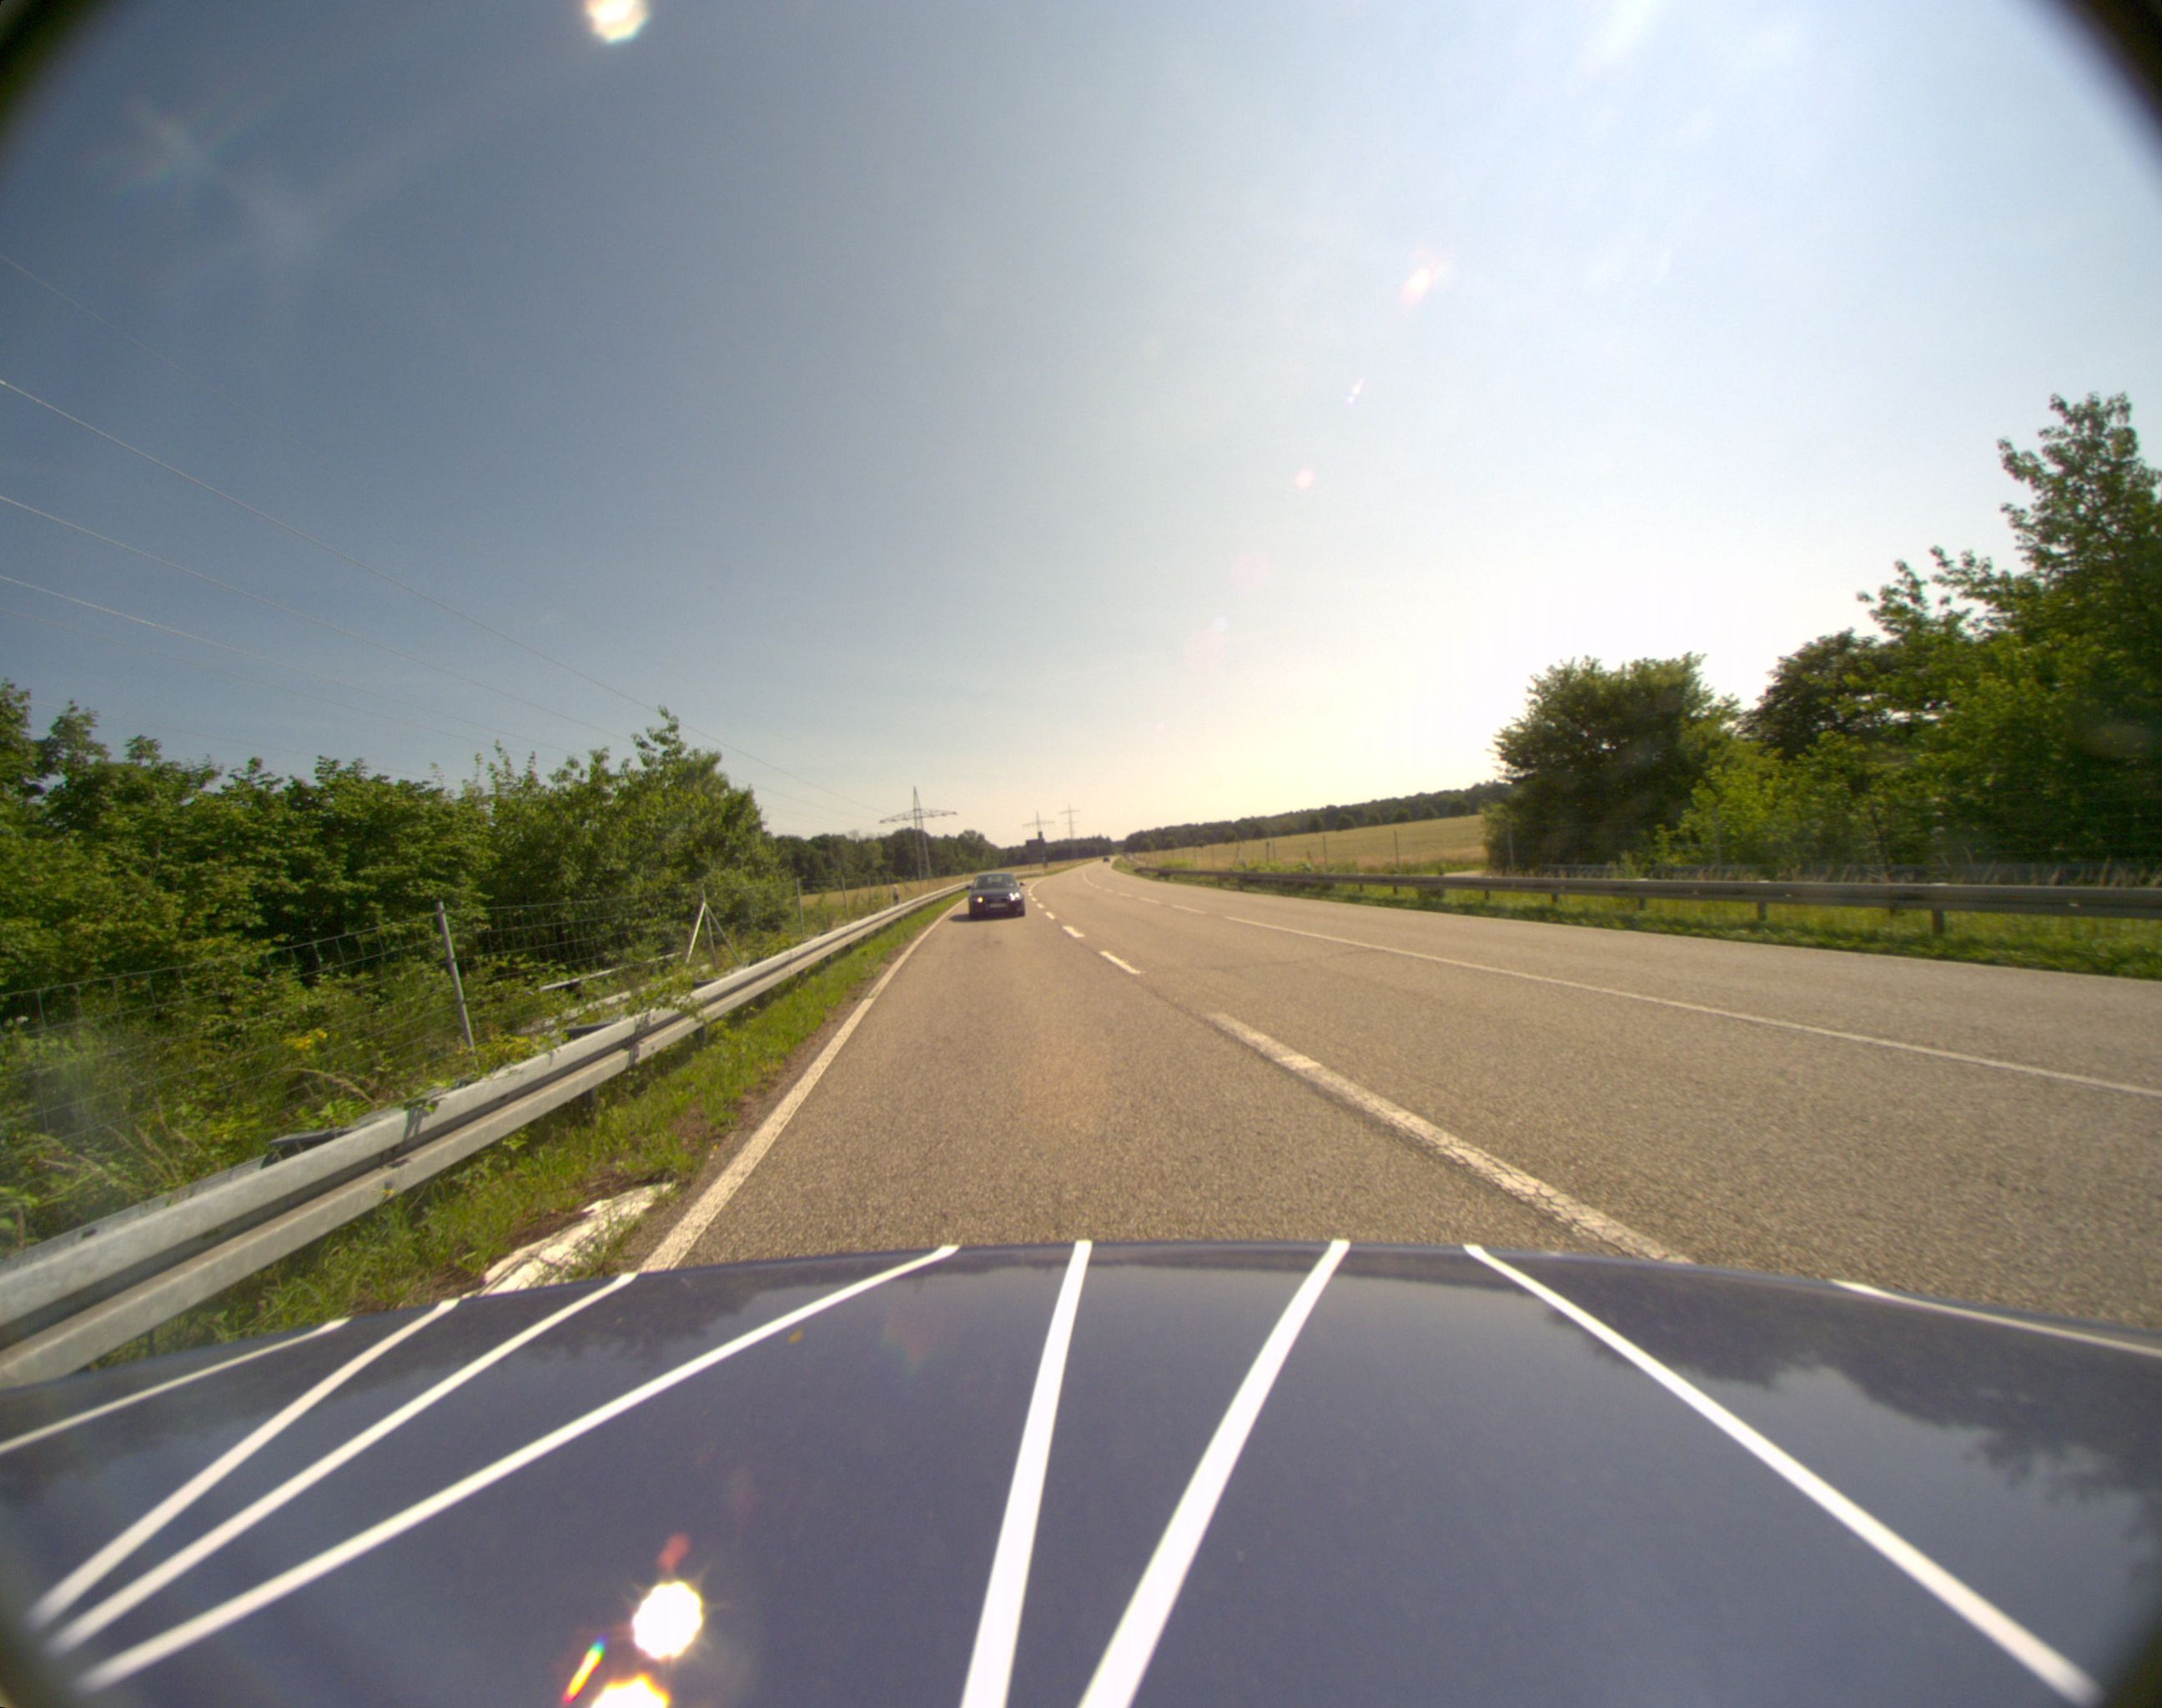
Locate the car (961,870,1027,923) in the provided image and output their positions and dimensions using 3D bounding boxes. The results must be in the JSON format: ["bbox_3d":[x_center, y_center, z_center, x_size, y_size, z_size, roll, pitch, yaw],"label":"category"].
[{"bbox_3d":[-2.875,1.309,24.756,1.887,1.448,4.073,-3,-1,-8],"label":"car"}]

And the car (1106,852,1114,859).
[{"bbox_3d":[7.548,0.434,197.772,1.833,1.498,4.163,-3,-1,1],"label":"car"}]
